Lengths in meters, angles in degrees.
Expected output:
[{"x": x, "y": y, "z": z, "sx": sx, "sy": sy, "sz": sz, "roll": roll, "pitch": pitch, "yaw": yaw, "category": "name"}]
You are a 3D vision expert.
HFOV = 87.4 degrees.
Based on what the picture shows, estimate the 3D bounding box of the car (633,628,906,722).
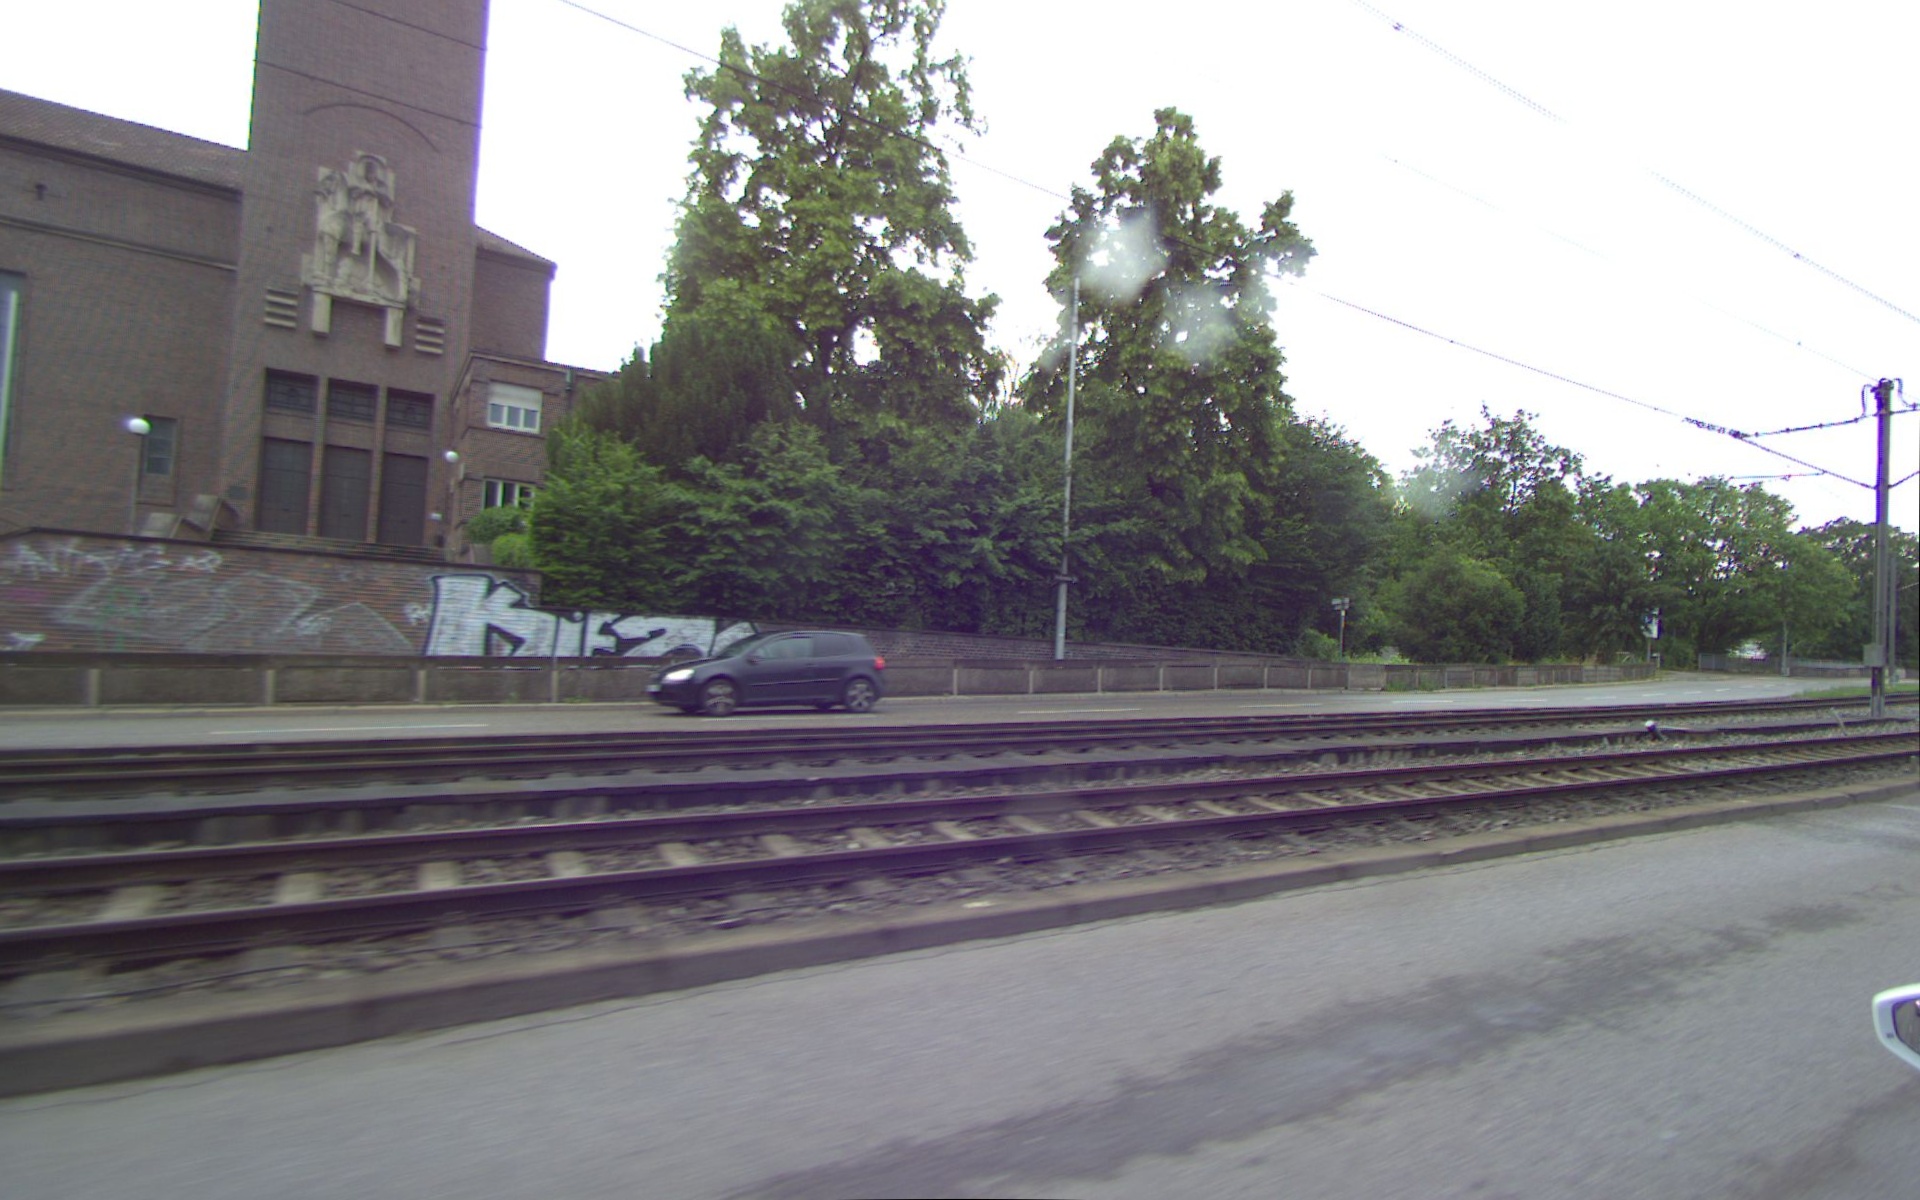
[{"x": -3.298, "y": 1.306, "z": 17.633, "sx": 4.277, "sy": 1.460, "sz": 1.954, "roll": 4, "pitch": -3, "yaw": -33, "category": "car"}]
